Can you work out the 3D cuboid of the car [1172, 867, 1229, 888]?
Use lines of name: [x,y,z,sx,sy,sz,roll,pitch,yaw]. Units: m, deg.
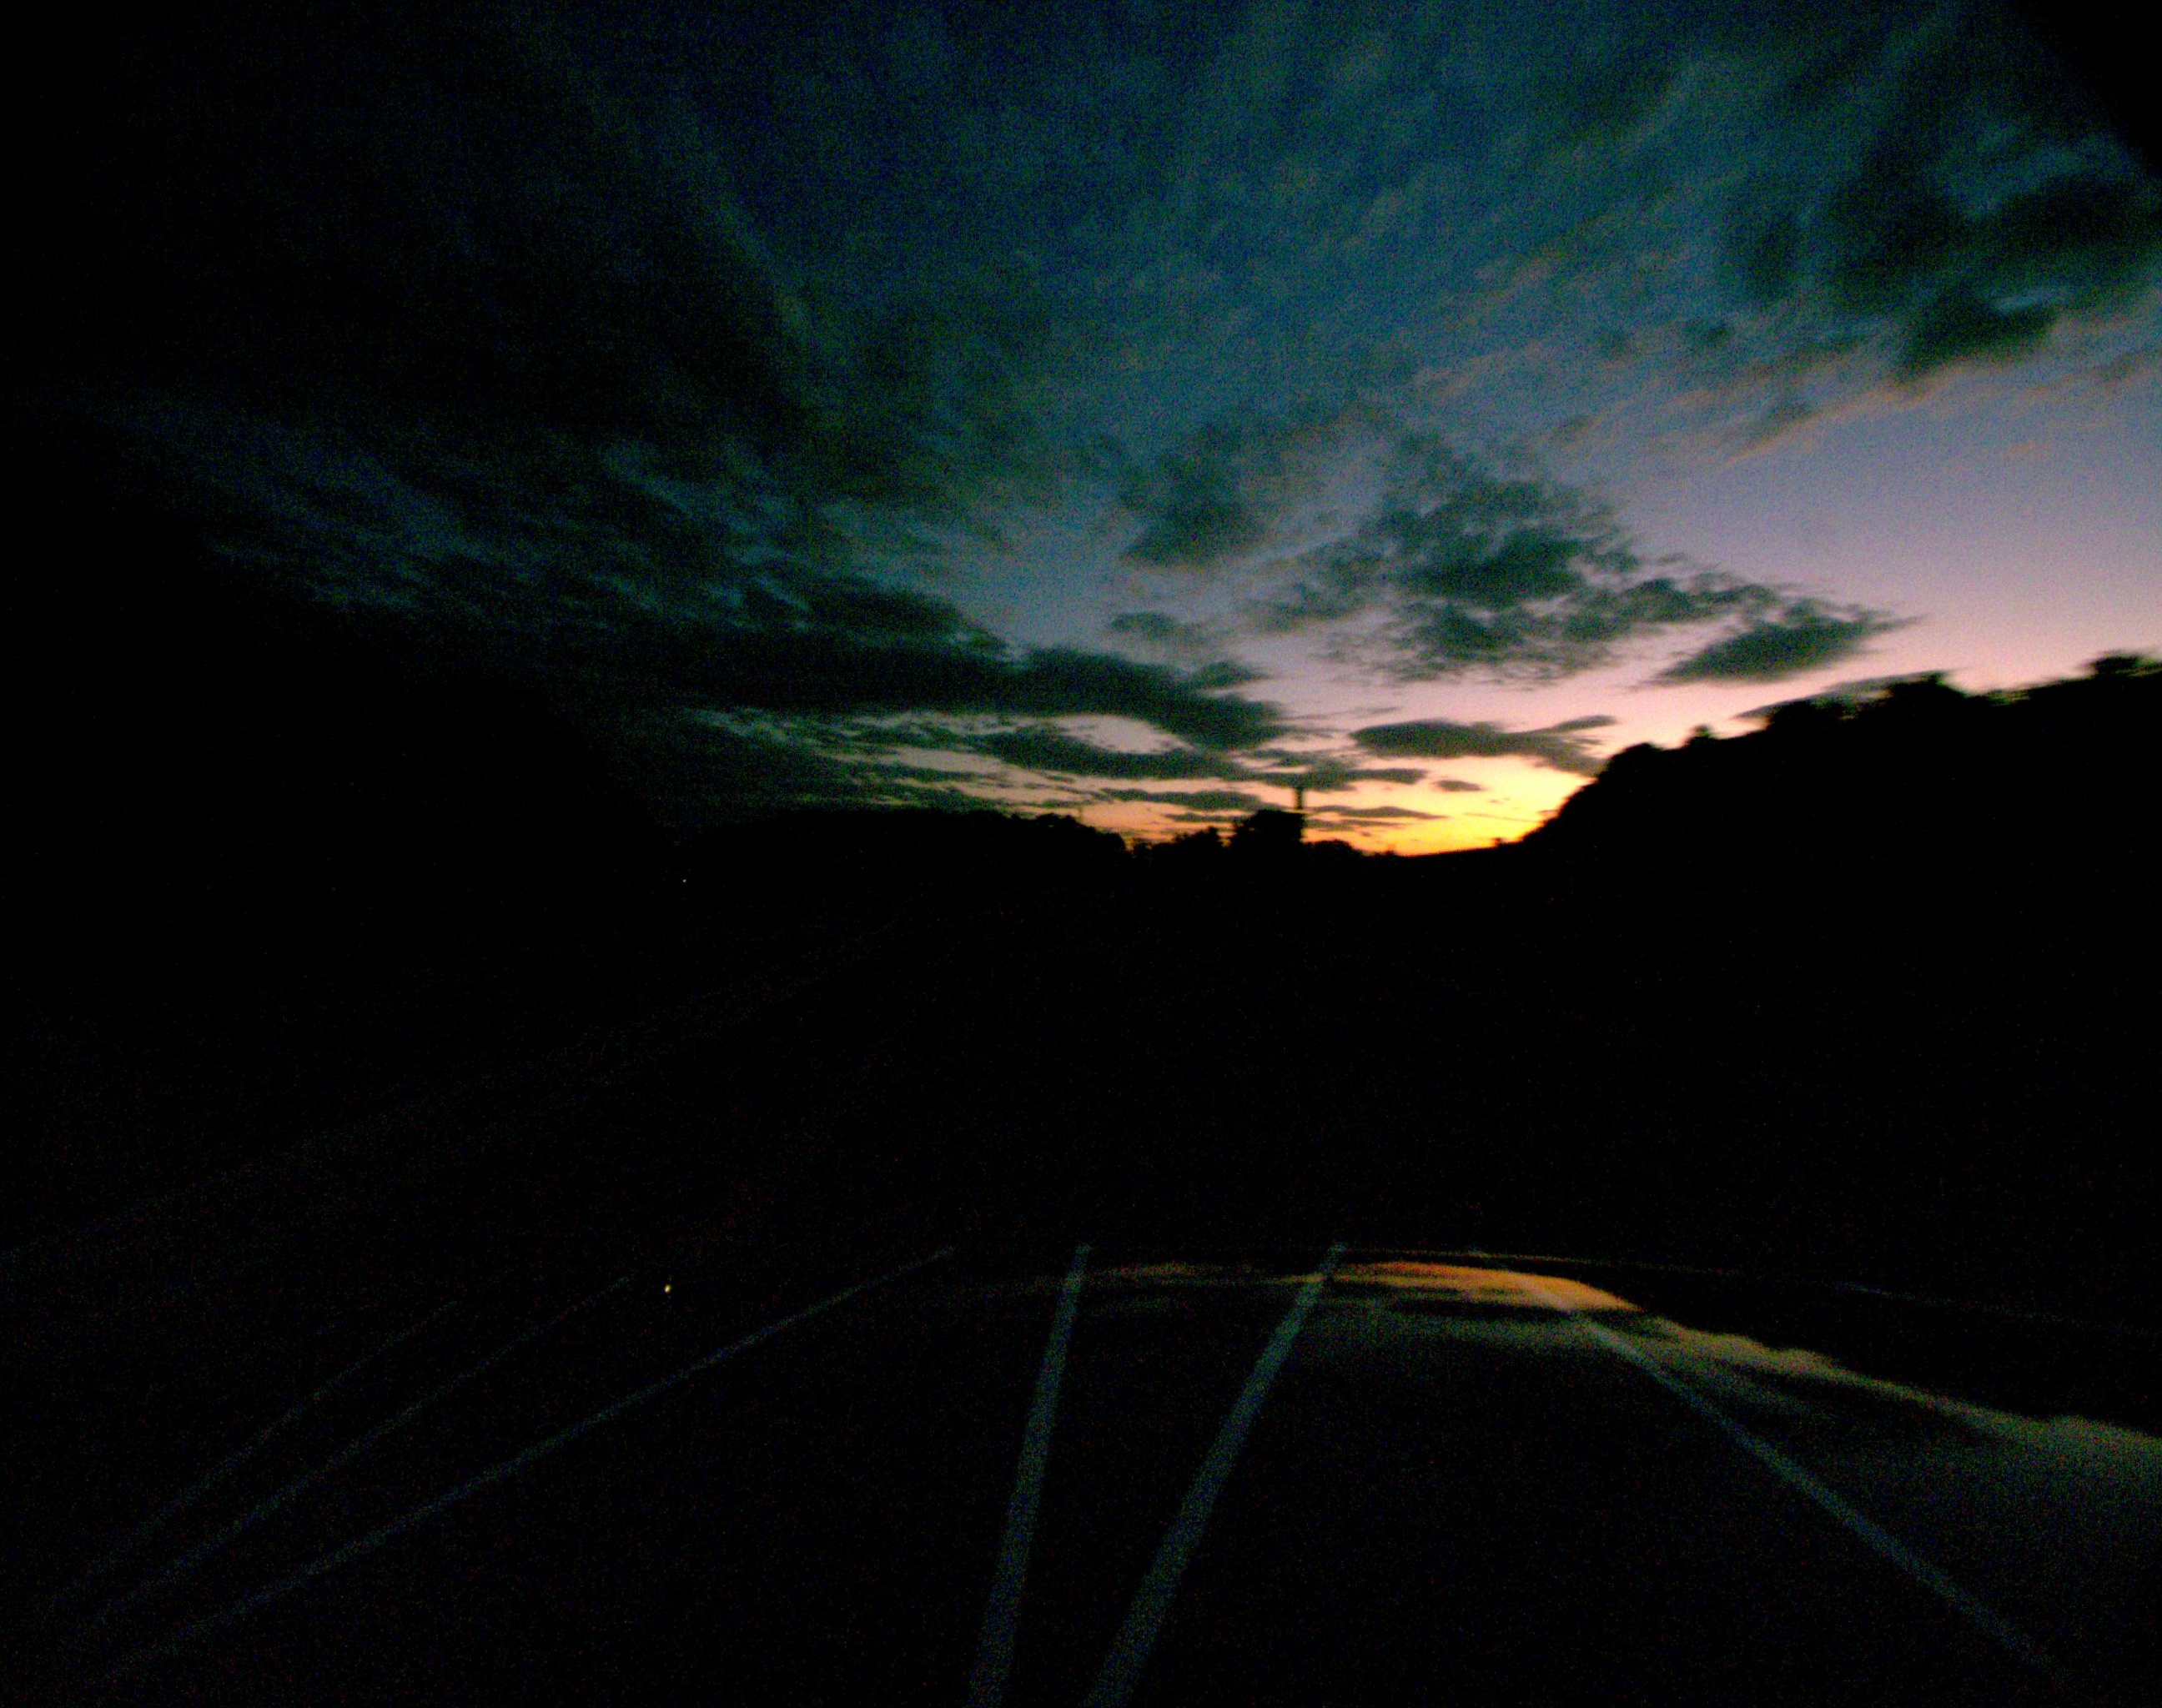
car: [9.428,1.901,60.219,3.989,1.475,2.004,-3,1,43]
